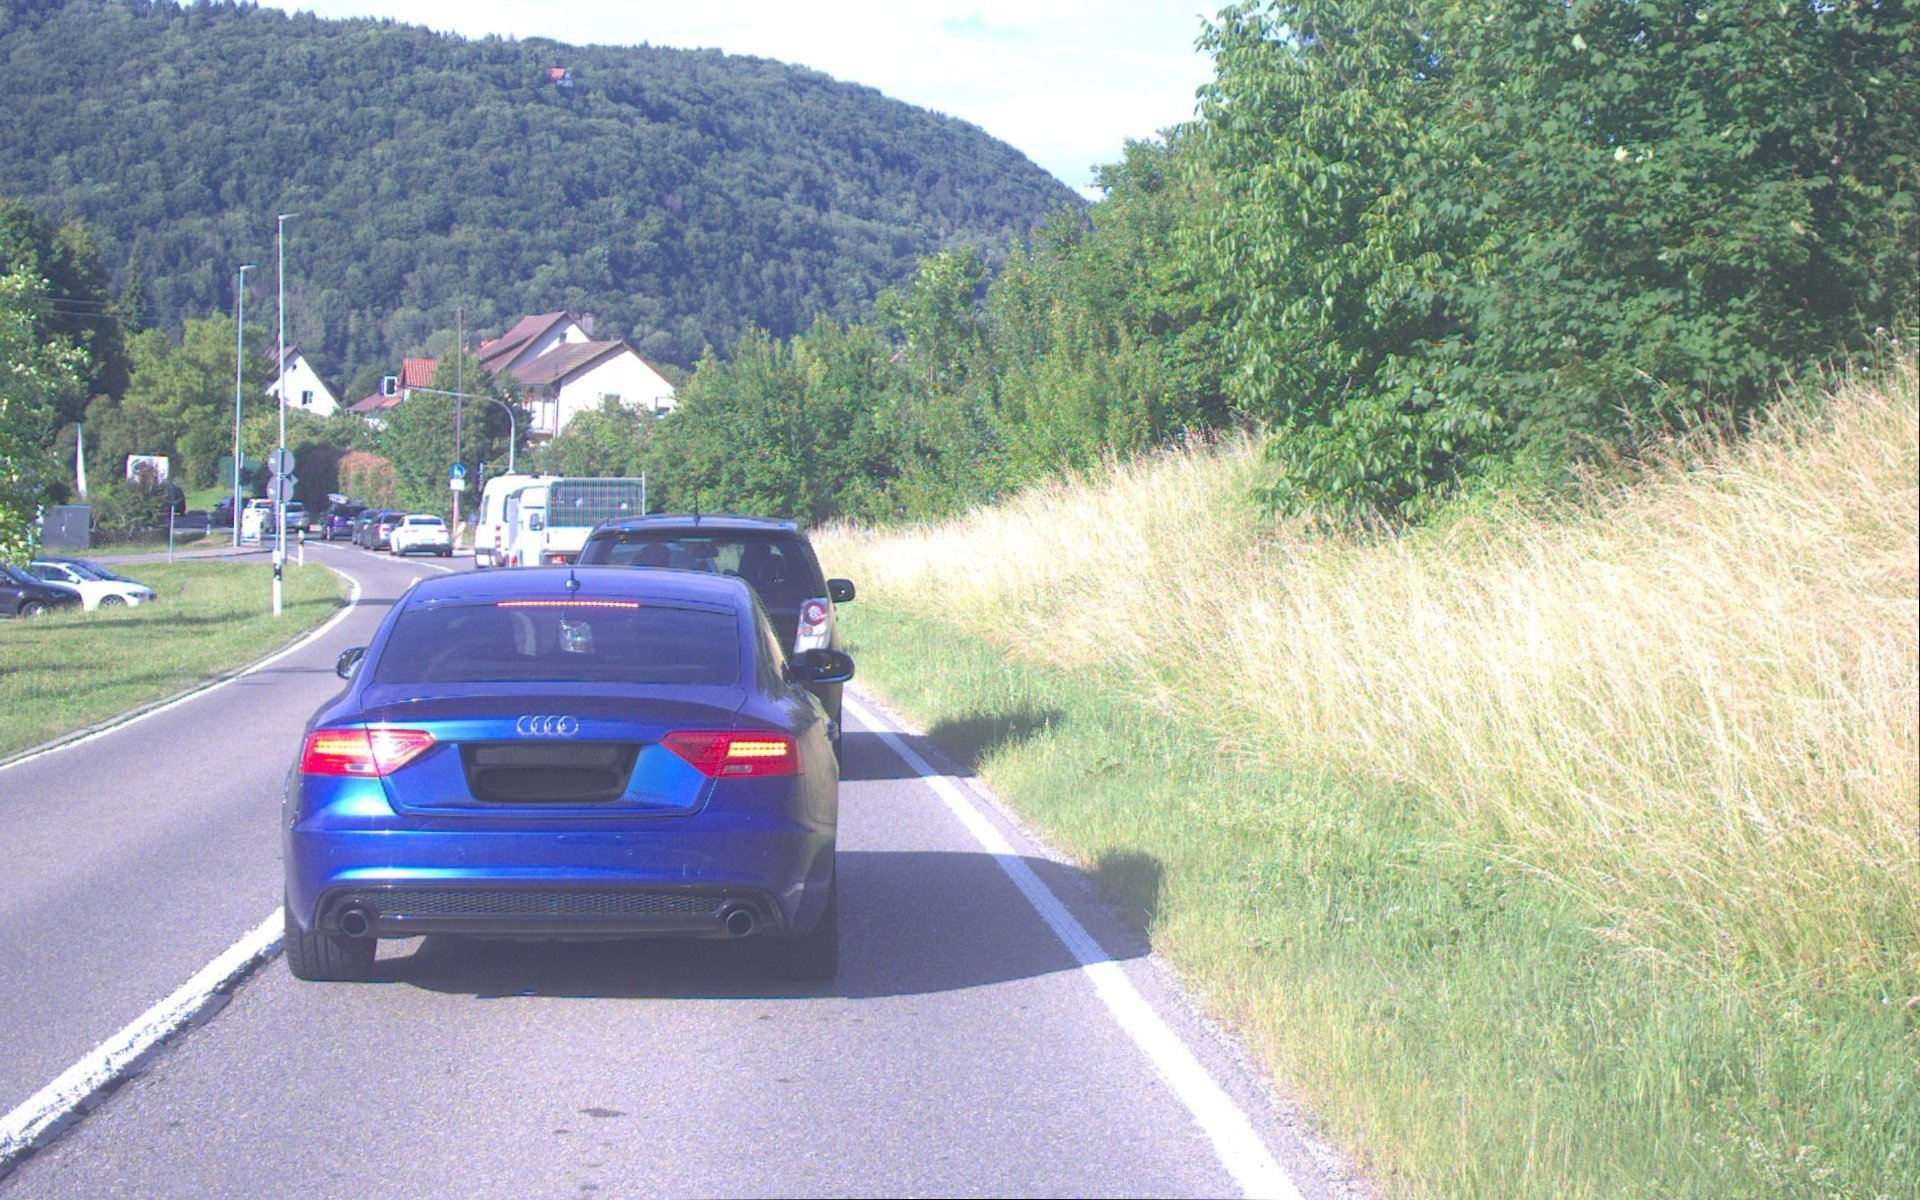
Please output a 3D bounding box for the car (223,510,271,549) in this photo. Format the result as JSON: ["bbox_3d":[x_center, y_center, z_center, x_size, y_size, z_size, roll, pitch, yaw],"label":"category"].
[{"bbox_3d":[-35.289,-3.475,170.135,1.676,1.918,4.001,-1,1,-21],"label":"car"}]

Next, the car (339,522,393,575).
[{"bbox_3d":[-22.071,-1.918,127.611,1.659,1.918,4.001,-1,1,-14],"label":"car"}]

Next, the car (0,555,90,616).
[{"bbox_3d":[-23.226,-0.354,83.609,3.713,1.434,1.509,-1,1,5],"label":"car"}]

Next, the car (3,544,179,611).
[{"bbox_3d":[-22.235,-0.574,88.027,4.036,1.655,1.655,-1,1,5],"label":"car"}]

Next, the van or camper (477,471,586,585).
[{"bbox_3d":[-10.596,-1.766,84.712,2.280,2.704,5.769,-1,1,-11],"label":"van or camper"}]

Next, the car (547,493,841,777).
[{"bbox_3d":[-1.761,0.174,21.863,1.645,1.619,3.518,1,1,-7],"label":"car"}]

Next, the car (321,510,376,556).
[{"bbox_3d":[-26.162,-2.844,147.007,1.676,1.918,4.001,-1,1,-19],"label":"car"}]

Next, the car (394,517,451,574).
[{"bbox_3d":[-18.467,-1.866,118.029,1.659,1.918,4.001,-1,1,-12],"label":"car"}]

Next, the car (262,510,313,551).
[{"bbox_3d":[-31.636,-3.264,161.748,1.676,1.918,4.001,-1,1,-21],"label":"car"}]

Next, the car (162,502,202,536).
[{"bbox_3d":[-44.104,-4.579,194.858,1.676,1.918,4.001,-1,1,-20],"label":"car"}]

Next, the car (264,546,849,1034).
[{"bbox_3d":[-1.317,0.546,12.092,1.742,1.445,3.517,0,1,-3],"label":"car"}]

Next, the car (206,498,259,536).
[{"bbox_3d":[-37.671,-4.311,177.945,1.954,1.918,4.001,-1,1,-22],"label":"car"}]

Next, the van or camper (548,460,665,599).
[{"bbox_3d":[-6.767,-1.325,65.322,2.051,2.497,5.813,-1,1,-7],"label":"van or camper"}]
